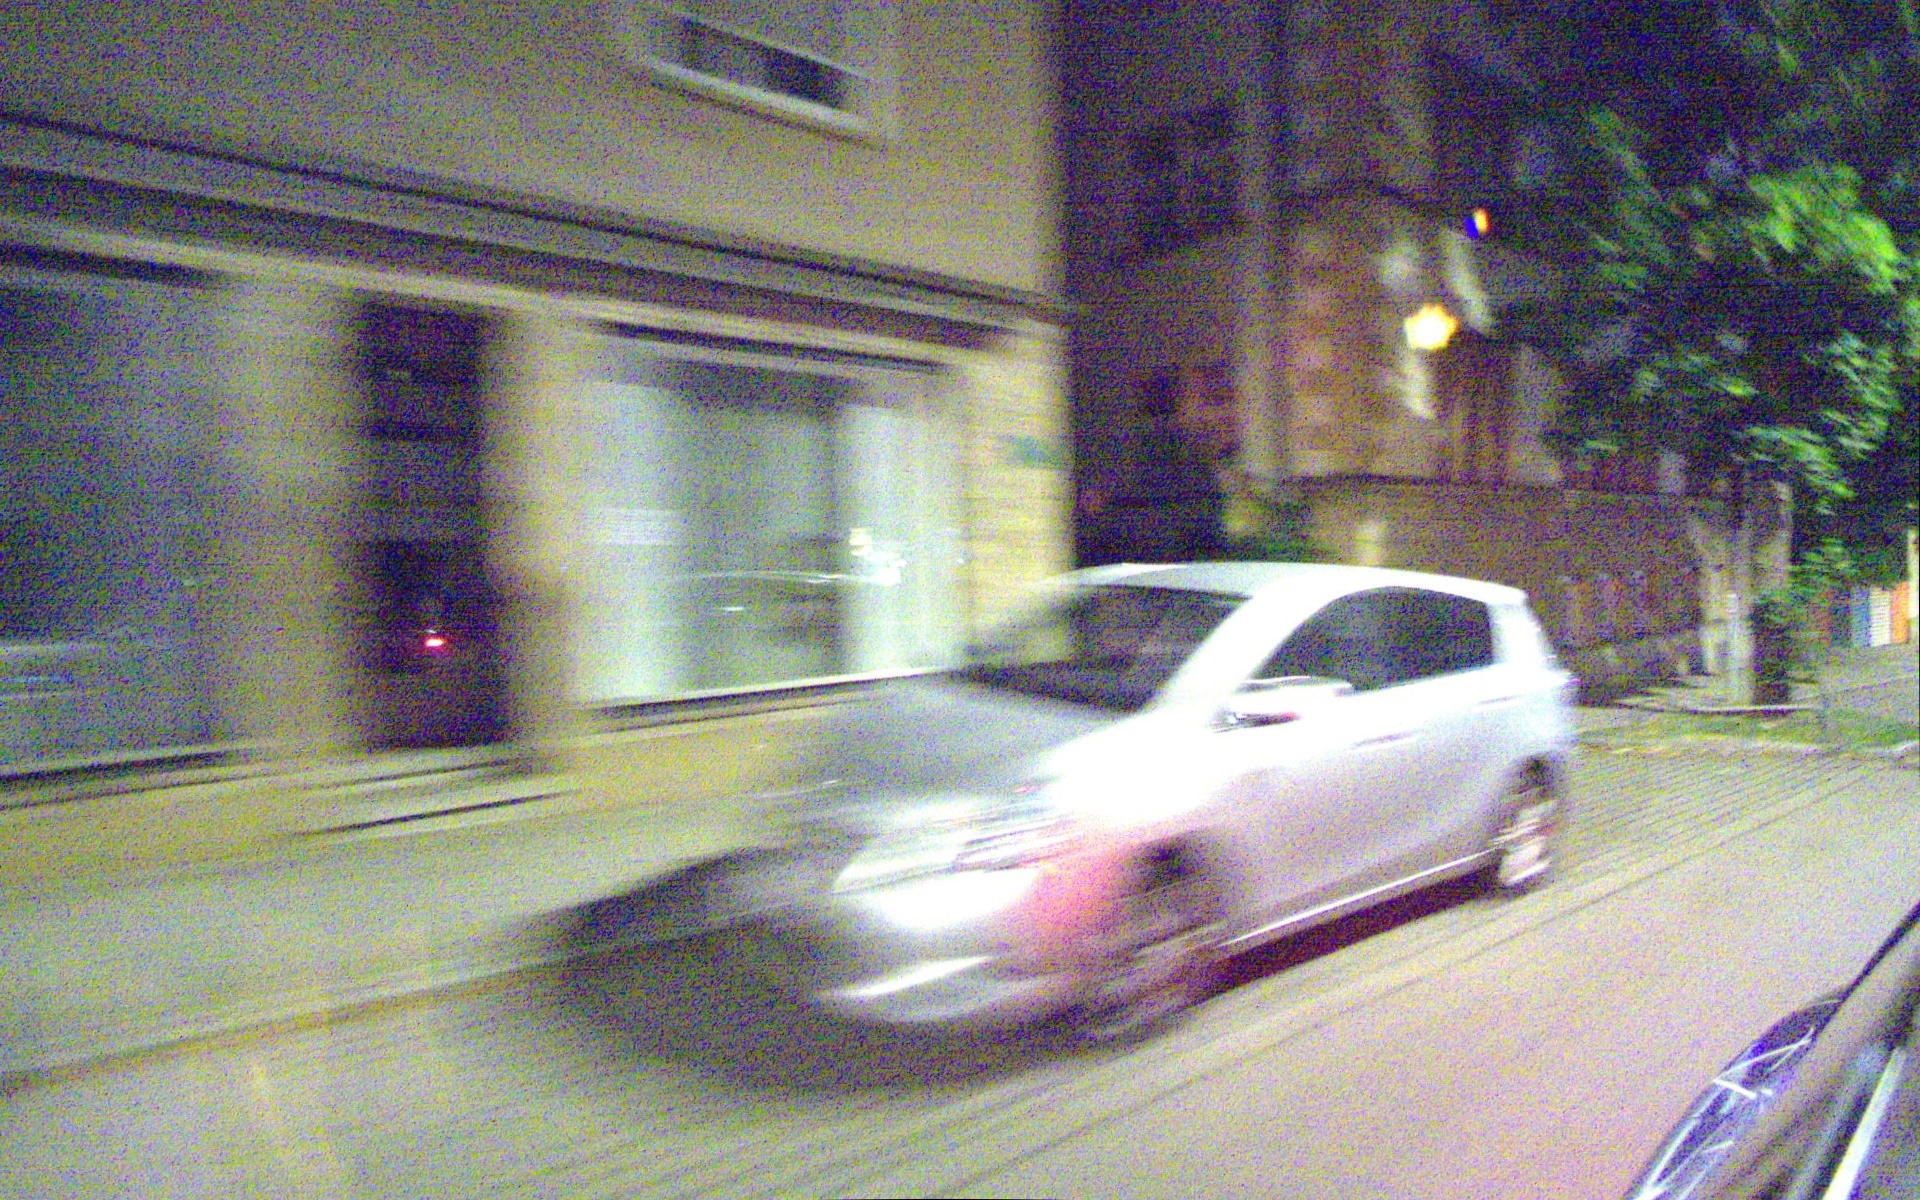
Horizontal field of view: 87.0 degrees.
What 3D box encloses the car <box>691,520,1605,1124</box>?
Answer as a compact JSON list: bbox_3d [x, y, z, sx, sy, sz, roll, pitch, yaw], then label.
[{"bbox_3d":[1.137,0.551,4.696,4.278,1.617,1.743,0,2,-37],"label":"car"}]
